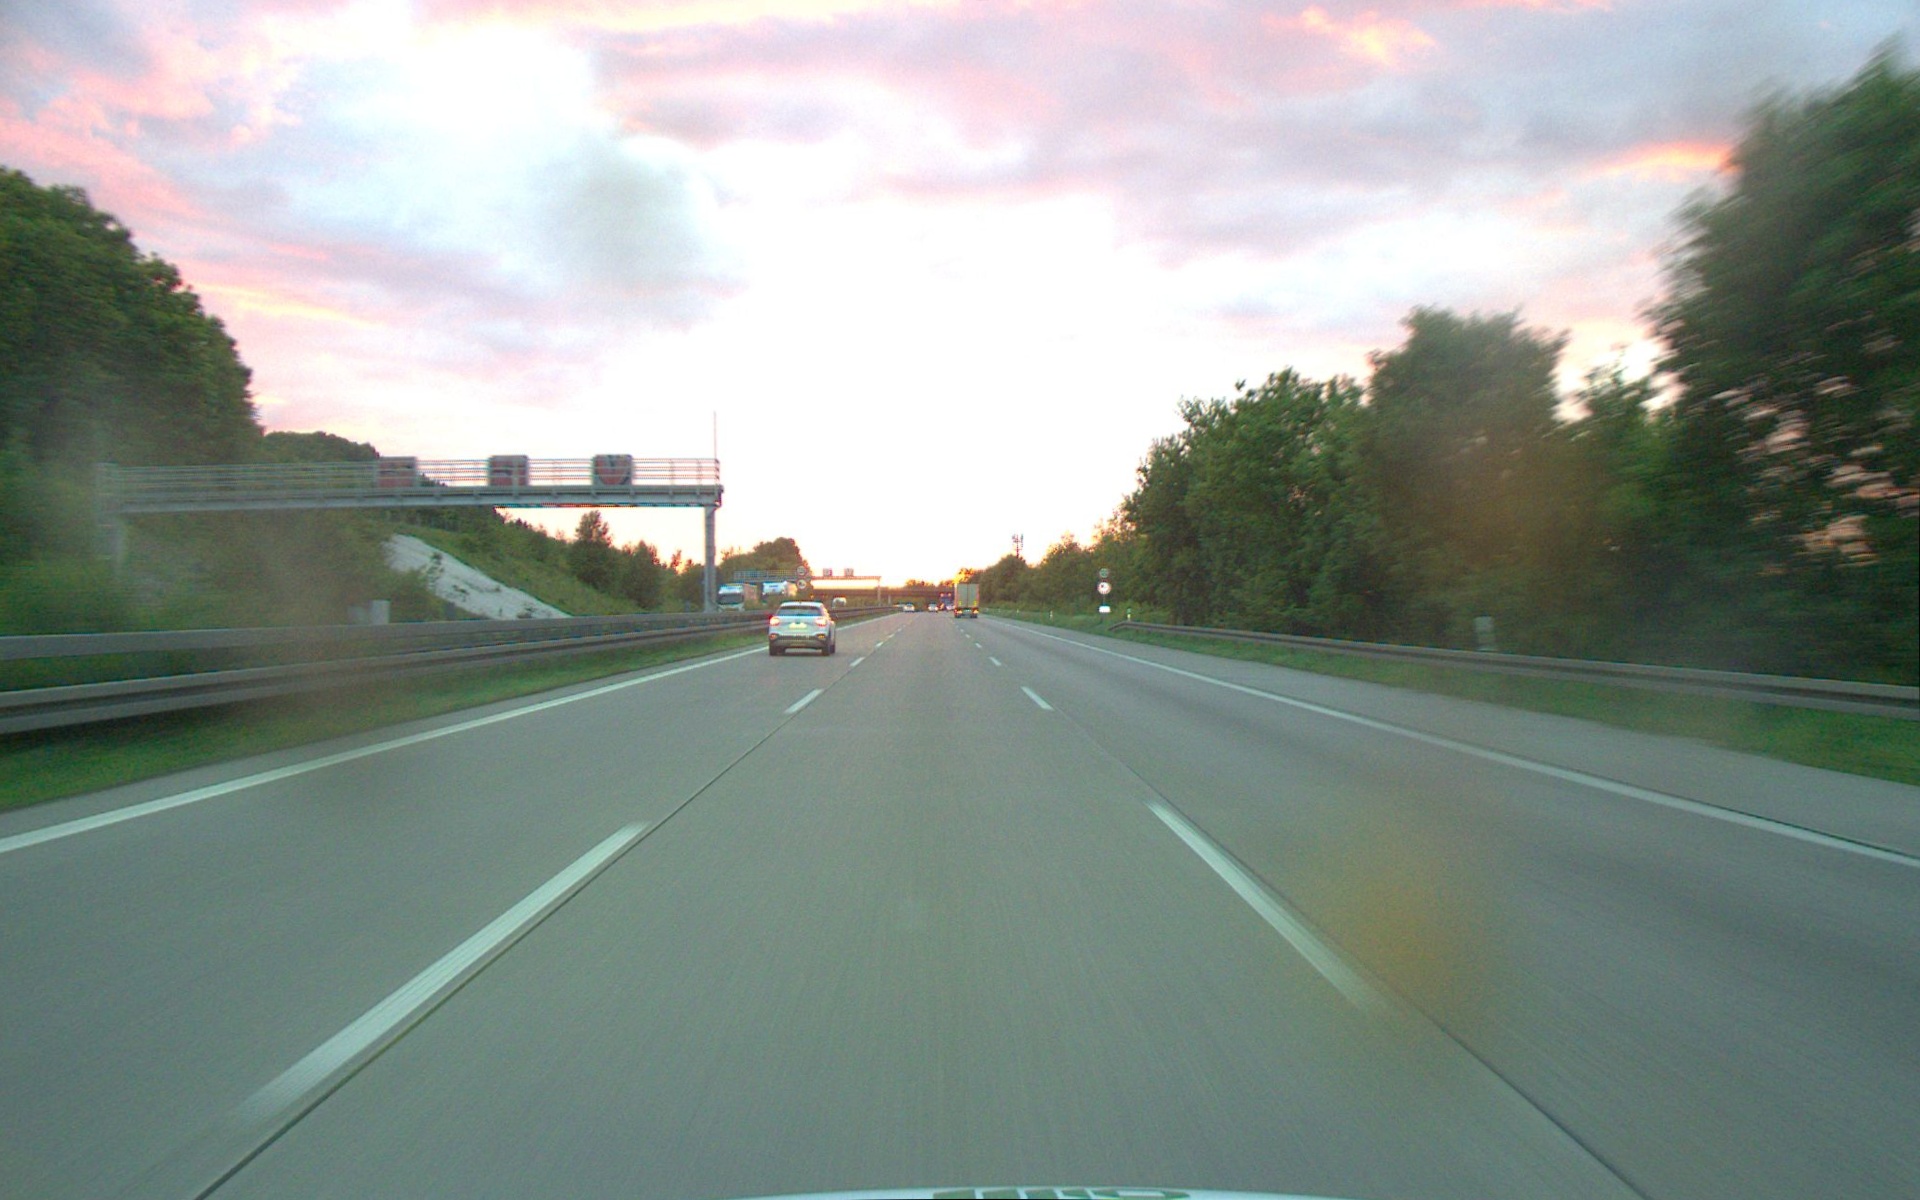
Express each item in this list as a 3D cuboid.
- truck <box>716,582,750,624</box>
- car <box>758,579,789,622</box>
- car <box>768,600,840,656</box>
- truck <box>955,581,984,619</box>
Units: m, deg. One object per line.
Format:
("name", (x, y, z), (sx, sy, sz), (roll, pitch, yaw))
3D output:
("truck", (-23.935, 0.291, 174.305), (2.798, 4.284, 5.863), (-1, 0, -1))
("car", (-19.855, 0.066, 176.432), (2.741, 4.566, 5.928), (0, 0, -1))
("car", (-4.568, 0.783, 49.083), (1.753, 1.527, 5.036), (1, 0, -1))
("truck", (1.084, -0.033, 190.080), (3.178, 4.199, 9.786), (-1, 0, 0))
